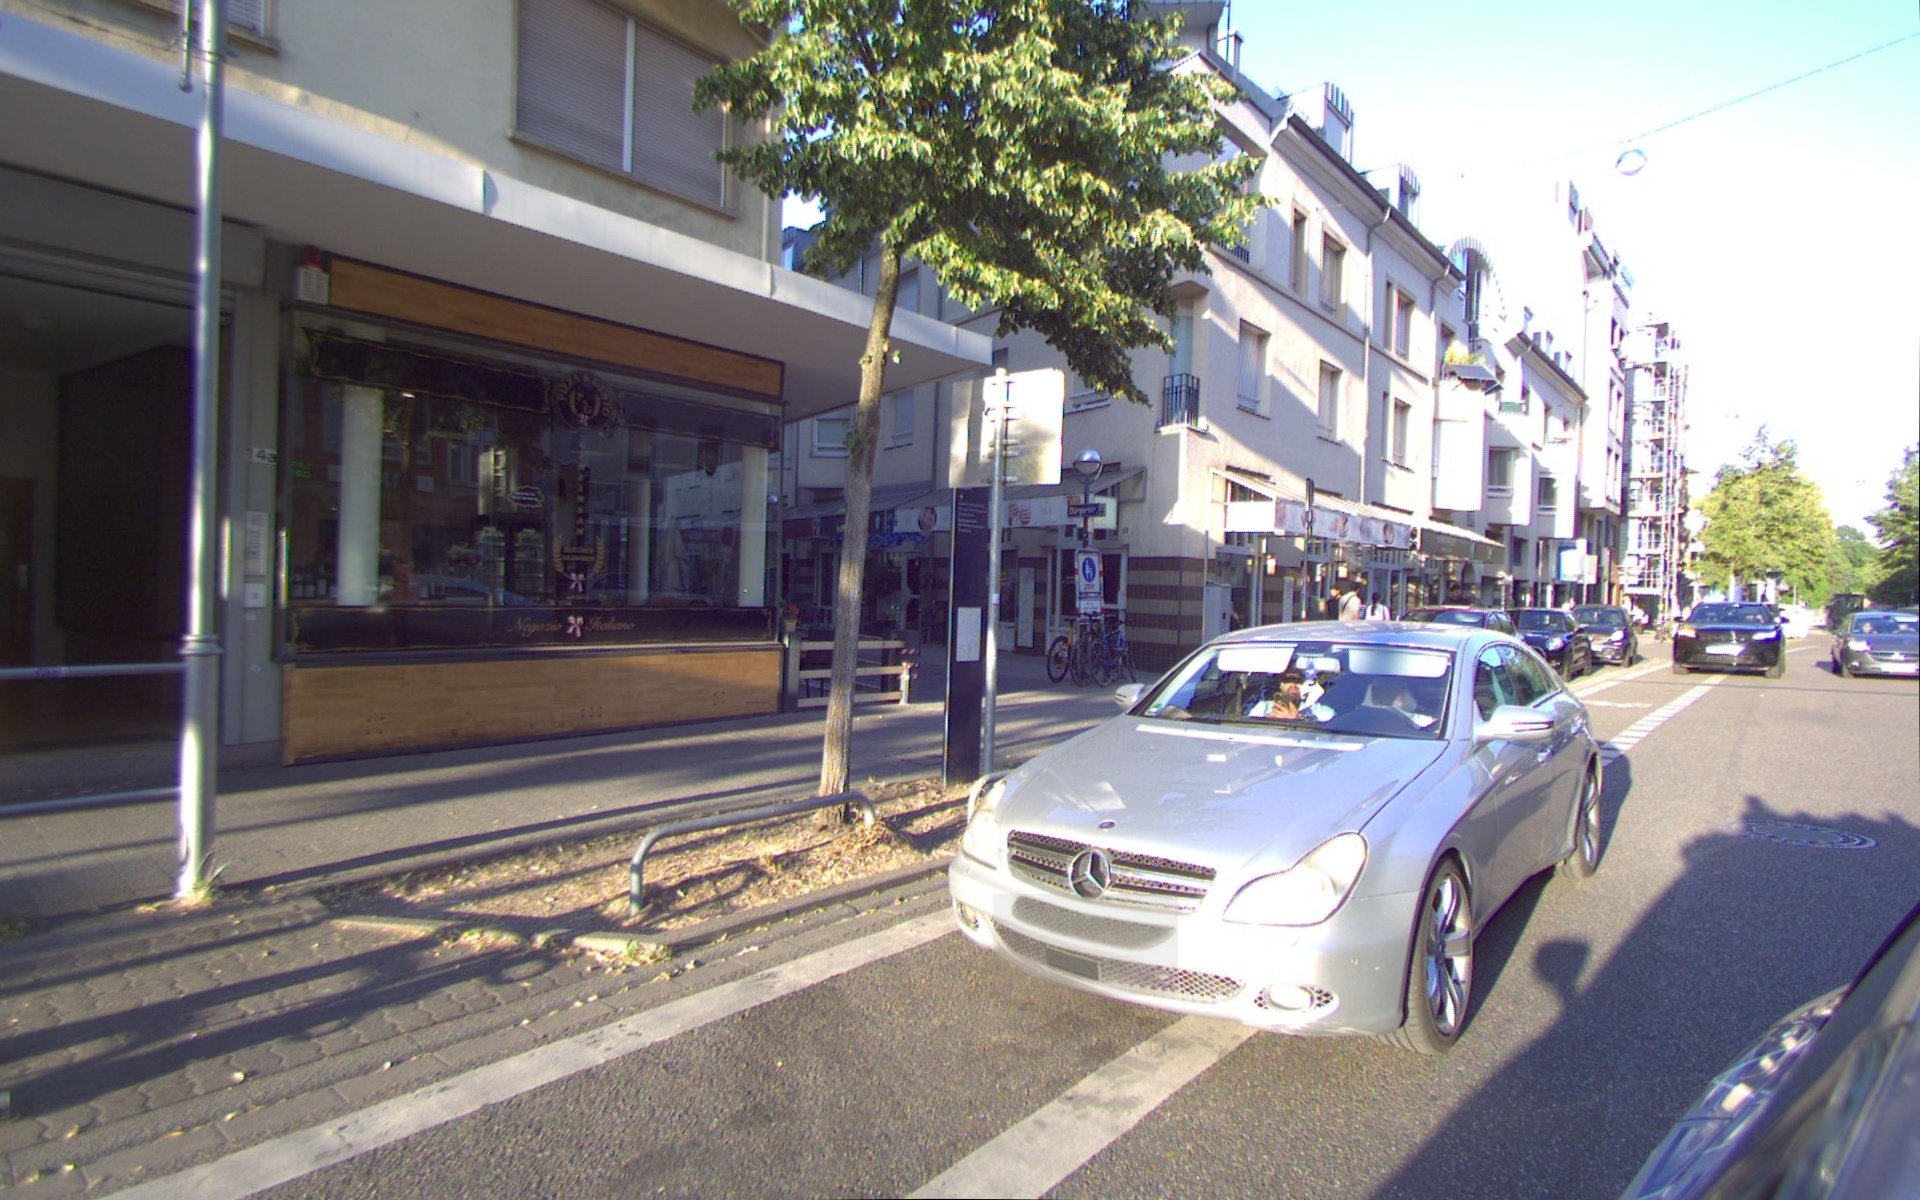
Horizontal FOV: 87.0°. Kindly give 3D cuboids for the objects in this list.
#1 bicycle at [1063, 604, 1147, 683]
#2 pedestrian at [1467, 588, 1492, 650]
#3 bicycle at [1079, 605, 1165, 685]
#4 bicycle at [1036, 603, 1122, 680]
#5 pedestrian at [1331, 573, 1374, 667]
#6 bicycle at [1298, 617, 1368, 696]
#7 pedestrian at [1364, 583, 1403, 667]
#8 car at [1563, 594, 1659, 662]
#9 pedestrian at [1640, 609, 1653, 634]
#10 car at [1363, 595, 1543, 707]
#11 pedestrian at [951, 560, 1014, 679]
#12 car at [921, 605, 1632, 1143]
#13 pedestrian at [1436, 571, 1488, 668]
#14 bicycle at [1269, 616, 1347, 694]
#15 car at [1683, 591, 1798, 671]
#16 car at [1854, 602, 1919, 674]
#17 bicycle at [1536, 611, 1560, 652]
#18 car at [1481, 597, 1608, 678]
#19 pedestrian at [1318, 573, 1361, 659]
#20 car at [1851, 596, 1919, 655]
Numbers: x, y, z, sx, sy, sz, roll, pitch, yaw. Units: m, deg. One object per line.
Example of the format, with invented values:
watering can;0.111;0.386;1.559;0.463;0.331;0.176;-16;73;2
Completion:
bicycle;2.231;0.632;15.392;0.290;1.118;1.859;2;1;41
pedestrian;15.440;0.550;30.063;0.574;1.823;0.443;0;0;42
bicycle;2.459;0.645;15.186;0.320;1.118;1.851;2;1;41
bicycle;1.872;0.611;15.721;0.320;1.118;1.851;2;1;41
pedestrian;7.743;0.385;19.970;0.543;1.779;0.495;5;3;41
bicycle;5.493;0.805;14.843;0.314;1.059;1.638;3;2;43
pedestrian;8.370;0.483;20.008;0.519;1.612;0.402;5;3;41
car;17.193;0.677;26.648;1.615;1.612;3.868;2;1;40
pedestrian;35.871;1.138;52.877;0.490;1.279;0.415;0;0;42
car;7.768;0.693;15.774;1.587;1.451;3.868;4;2;40
pedestrian;0.329;0.275;15.052;0.688;1.696;0.799;2;2;-13
car;1.978;0.738;5.012;1.740;1.419;4.571;-1;-1;40
pedestrian;10.206;0.396;20.577;0.776;1.907;0.660;-2;-2;41
bicycle;5.192;0.791;15.037;0.314;1.059;1.853;3;2;43
car;17.929;0.649;23.177;1.884;1.656;4.165;0;0;41
car;20.962;0.797;22.457;1.616;1.492;3.634;0;0;41
bicycle;16.250;0.859;27.966;0.295;1.099;1.441;1;1;41
car;12.248;0.711;21.114;1.615;1.452;3.868;3;2;40
pedestrian;8.098;0.333;21.597;0.629;1.771;0.660;3;2;41
car;29.224;0.804;30.243;1.706;1.696;4.288;2;1;7
